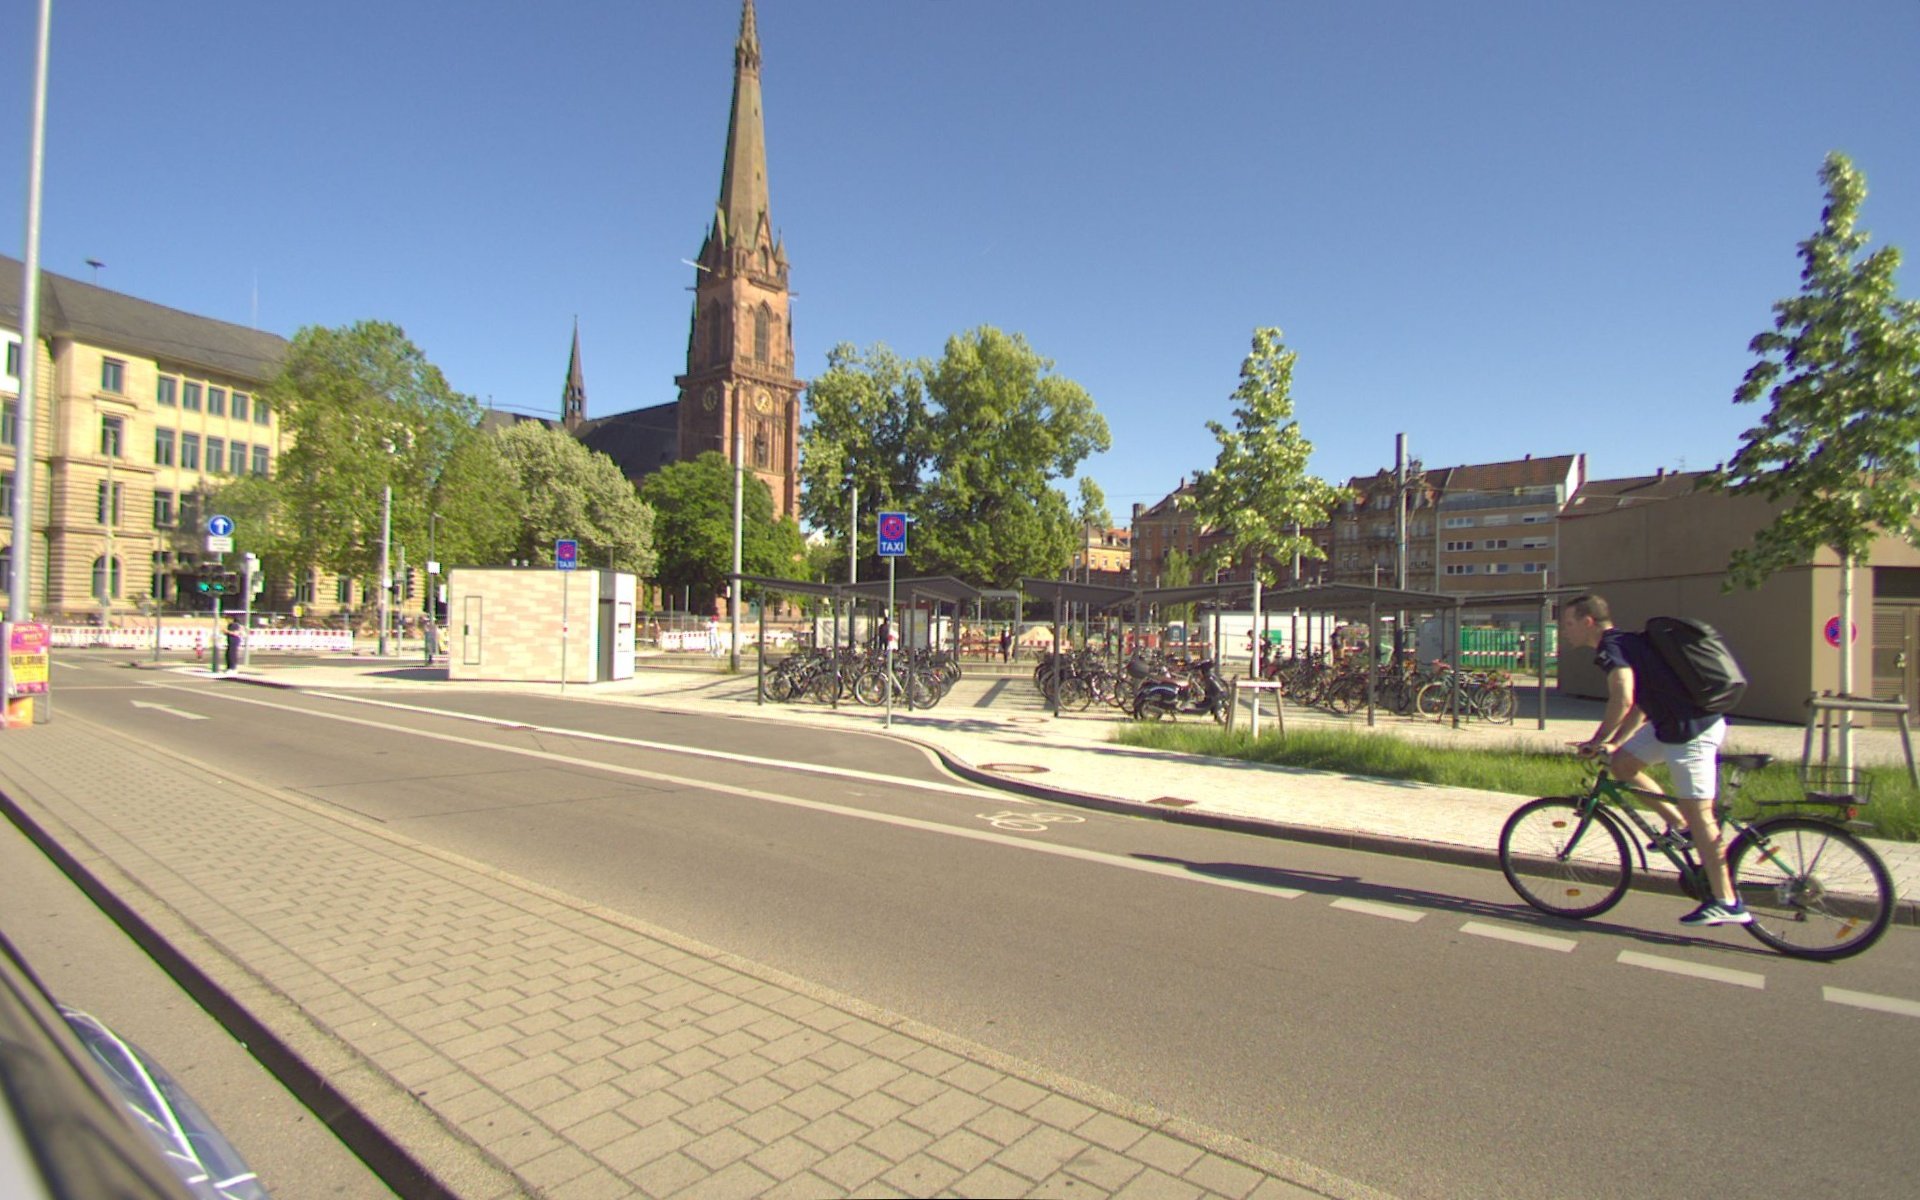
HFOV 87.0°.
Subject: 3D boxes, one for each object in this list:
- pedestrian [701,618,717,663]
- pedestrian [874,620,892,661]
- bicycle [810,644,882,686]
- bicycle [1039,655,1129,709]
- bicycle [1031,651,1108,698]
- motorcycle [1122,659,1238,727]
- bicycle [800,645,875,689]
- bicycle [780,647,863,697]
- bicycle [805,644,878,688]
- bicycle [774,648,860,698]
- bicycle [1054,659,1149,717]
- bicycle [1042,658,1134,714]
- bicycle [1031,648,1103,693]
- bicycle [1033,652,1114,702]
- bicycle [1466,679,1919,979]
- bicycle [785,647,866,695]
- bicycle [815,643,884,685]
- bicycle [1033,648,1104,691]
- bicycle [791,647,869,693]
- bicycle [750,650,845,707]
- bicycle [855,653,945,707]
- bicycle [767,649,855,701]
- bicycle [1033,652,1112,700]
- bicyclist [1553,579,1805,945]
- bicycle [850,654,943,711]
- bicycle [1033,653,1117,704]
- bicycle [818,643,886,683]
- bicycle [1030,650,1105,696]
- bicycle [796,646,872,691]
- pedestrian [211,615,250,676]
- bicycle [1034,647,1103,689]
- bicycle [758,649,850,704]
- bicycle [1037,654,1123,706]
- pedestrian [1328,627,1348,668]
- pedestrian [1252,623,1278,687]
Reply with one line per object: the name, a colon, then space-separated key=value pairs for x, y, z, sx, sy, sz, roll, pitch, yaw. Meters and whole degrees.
pedestrian: x=-9.949 y=1.612 z=40.101 sx=0.529 sy=1.736 sz=0.684 roll=0 pitch=-6 yaw=-20
pedestrian: x=-3.193 y=1.683 z=42.057 sx=0.518 sy=1.667 sz=0.559 roll=-1 pitch=0 yaw=41
bicycle: x=-2.990 y=1.701 z=26.606 sx=1.764 sy=1.046 sz=0.567 roll=2 pitch=-3 yaw=3
bicycle: x=2.551 y=1.684 z=20.929 sx=1.764 sy=1.046 sz=0.567 roll=2 pitch=-3 yaw=3
bicycle: x=2.595 y=1.769 z=24.104 sx=1.764 sy=1.046 sz=0.567 roll=2 pitch=-3 yaw=3
motorcycle: x=3.902 y=1.647 z=18.044 sx=1.961 sy=1.127 sz=0.593 roll=1 pitch=-2 yaw=7
bicycle: x=-3.060 y=1.683 z=25.411 sx=1.764 sy=1.046 sz=0.567 roll=2 pitch=-3 yaw=3
bicycle: x=-3.120 y=1.620 z=22.917 sx=1.764 sy=1.046 sz=0.567 roll=2 pitch=-3 yaw=3
bicycle: x=-3.032 y=1.693 z=26.014 sx=1.764 sy=1.046 sz=0.567 roll=2 pitch=-3 yaw=3
bicycle: x=-3.134 y=1.599 z=22.286 sx=1.764 sy=1.046 sz=0.567 roll=2 pitch=-3 yaw=3
bicycle: x=2.743 y=1.709 z=19.745 sx=1.764 sy=1.046 sz=0.567 roll=2 pitch=-3 yaw=3
bicycle: x=2.554 y=1.723 z=20.341 sx=1.764 sy=1.046 sz=0.567 roll=2 pitch=-3 yaw=3
bicycle: x=2.698 y=1.772 z=25.570 sx=1.764 sy=1.046 sz=0.567 roll=2 pitch=-3 yaw=3
bicycle: x=2.558 y=1.732 z=22.890 sx=1.764 sy=1.046 sz=0.567 roll=2 pitch=-3 yaw=3
bicycle: x=3.659 y=1.030 z=5.100 sx=1.869 sy=1.174 sz=0.738 roll=-1 pitch=-3 yaw=41
bicycle: x=-3.118 y=1.650 z=23.533 sx=1.764 sy=1.046 sz=0.567 roll=2 pitch=-3 yaw=3
bicycle: x=-2.966 y=1.711 z=27.208 sx=1.764 sy=1.046 sz=0.567 roll=2 pitch=-3 yaw=3
bicycle: x=2.802 y=1.797 z=26.294 sx=1.764 sy=1.046 sz=0.567 roll=2 pitch=-3 yaw=3
bicycle: x=-3.094 y=1.662 z=24.150 sx=1.764 sy=1.046 sz=0.567 roll=2 pitch=-3 yaw=3
bicycle: x=-3.228 y=1.555 z=20.191 sx=1.764 sy=1.046 sz=0.567 roll=2 pitch=-3 yaw=3
bicycle: x=-1.215 y=1.625 z=20.694 sx=1.764 sy=1.046 sz=0.567 roll=2 pitch=-3 yaw=3
bicycle: x=-3.167 y=1.588 z=21.598 sx=1.764 sy=1.046 sz=0.567 roll=2 pitch=-3 yaw=3
bicycle: x=2.593 y=1.748 z=23.505 sx=1.764 sy=1.046 sz=0.567 roll=2 pitch=-3 yaw=3
bicyclist: x=3.640 y=0.742 z=5.137 sx=0.977 sy=1.633 sz=0.712 roll=-1 pitch=-3 yaw=41
bicycle: x=-1.240 y=1.619 z=20.044 sx=1.764 sy=1.046 sz=0.567 roll=2 pitch=-3 yaw=3
bicycle: x=2.510 y=1.721 z=22.217 sx=1.764 sy=1.046 sz=0.567 roll=2 pitch=-3 yaw=3
bicycle: x=-2.960 y=1.733 z=27.859 sx=1.764 sy=1.046 sz=0.567 roll=2 pitch=-3 yaw=3
bicycle: x=2.610 y=1.768 z=24.699 sx=1.764 sy=1.046 sz=0.567 roll=2 pitch=-3 yaw=3
bicycle: x=-3.078 y=1.675 z=24.815 sx=1.764 sy=1.046 sz=0.567 roll=2 pitch=-3 yaw=3
pedestrian: x=-20.922 y=1.297 z=29.041 sx=0.648 sy=1.693 sz=0.779 roll=-1 pitch=0 yaw=42
bicycle: x=2.895 y=1.814 z=27.059 sx=1.764 sy=1.046 sz=0.567 roll=2 pitch=-3 yaw=3
bicycle: x=-3.196 y=1.568 z=20.843 sx=1.764 sy=1.046 sz=0.567 roll=2 pitch=-3 yaw=3
bicycle: x=2.549 y=1.699 z=21.587 sx=1.764 sy=1.046 sz=0.567 roll=2 pitch=-3 yaw=3
pedestrian: x=14.297 y=1.802 z=38.259 sx=0.581 sy=1.530 sz=0.559 roll=1 pitch=-2 yaw=5
pedestrian: x=8.411 y=1.516 z=27.931 sx=0.676 sy=1.736 sz=0.614 roll=0 pitch=-2 yaw=18
